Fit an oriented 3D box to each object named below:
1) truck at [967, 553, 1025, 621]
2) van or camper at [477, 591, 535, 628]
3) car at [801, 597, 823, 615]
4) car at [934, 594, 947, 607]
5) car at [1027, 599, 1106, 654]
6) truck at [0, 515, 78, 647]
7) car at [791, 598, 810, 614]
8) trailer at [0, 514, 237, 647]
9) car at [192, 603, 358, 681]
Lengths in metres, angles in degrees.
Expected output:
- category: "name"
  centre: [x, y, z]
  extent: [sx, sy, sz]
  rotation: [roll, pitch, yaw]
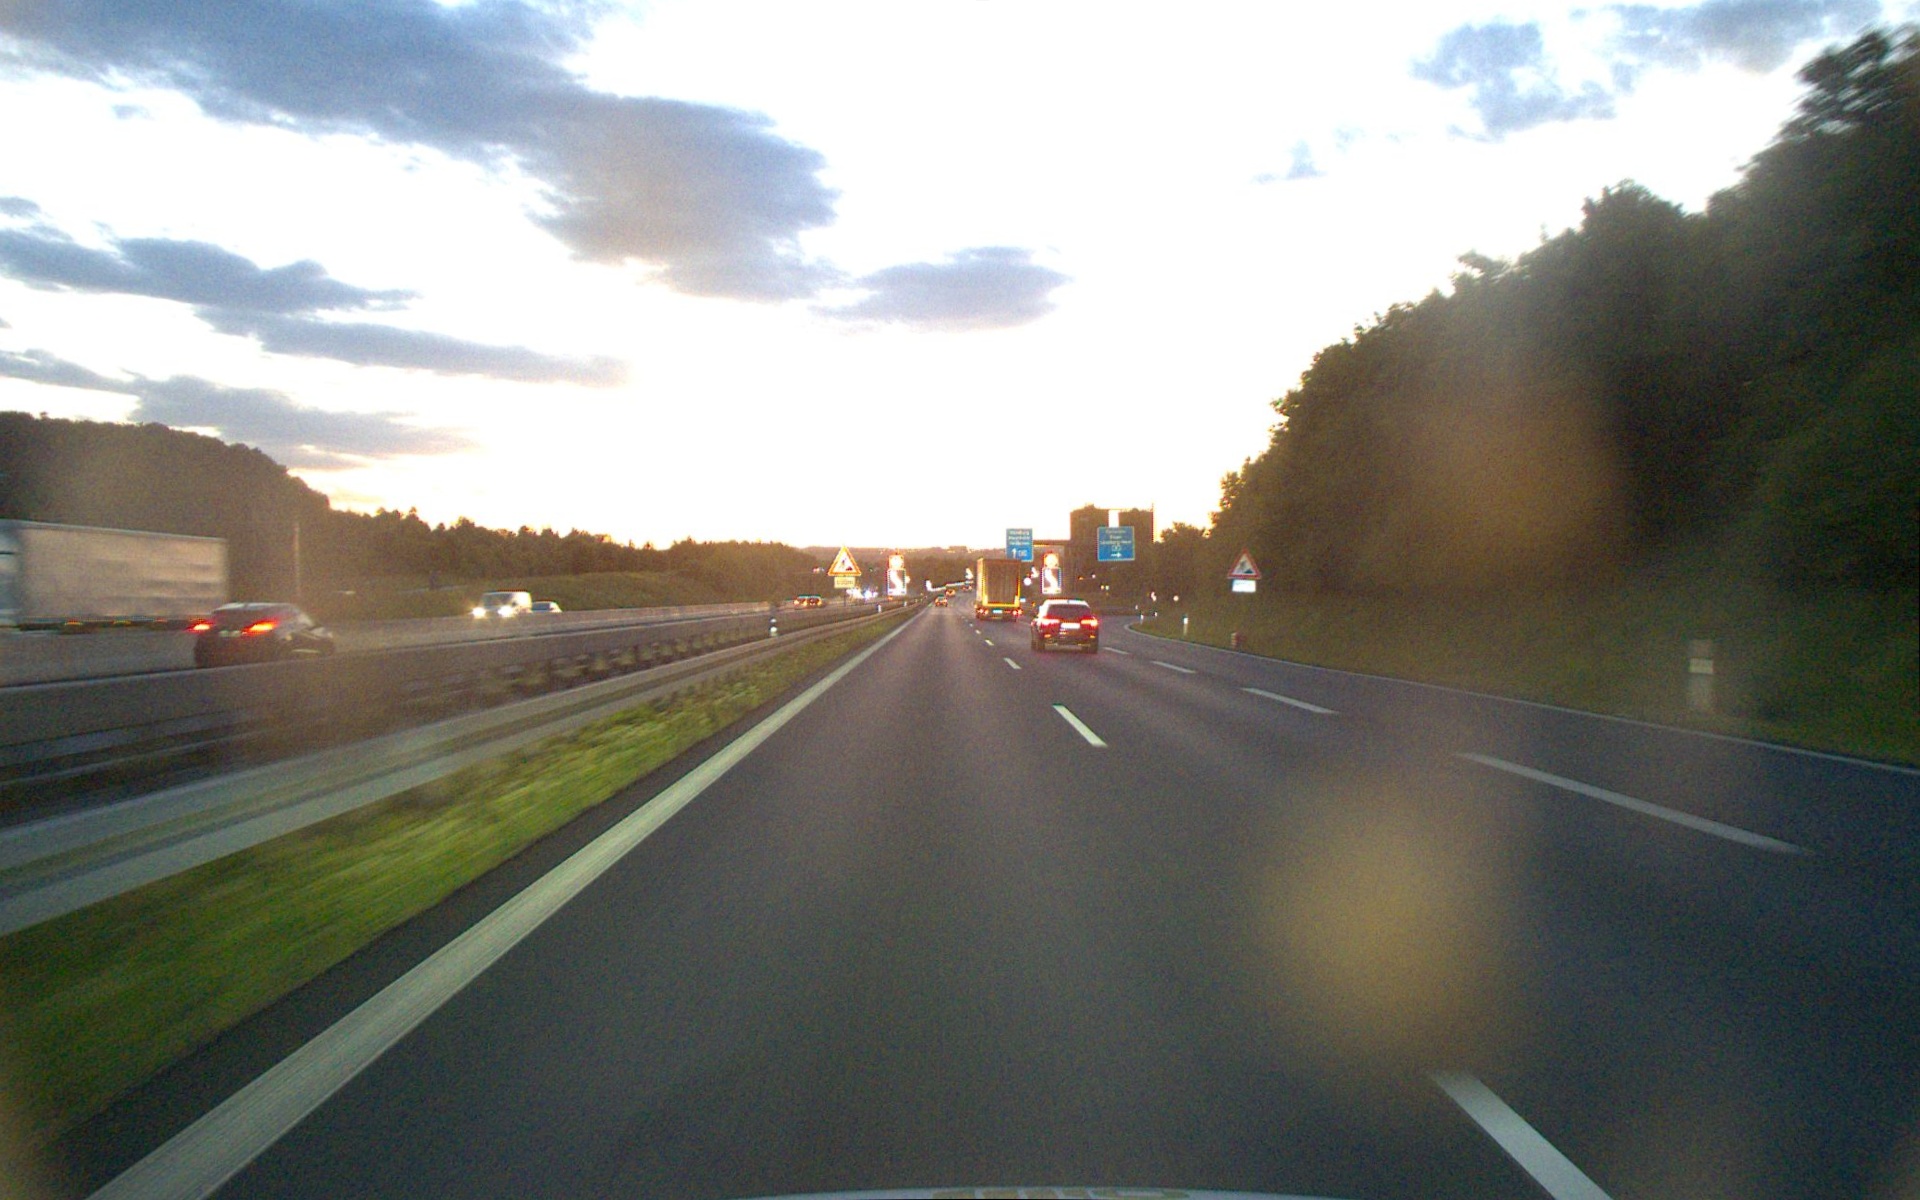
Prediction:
- category: "truck"
  centre: [2.366, -0.839, 112.876]
  extent: [3.438, 4.376, 9.889]
  rotation: [-1, 0, -1]
- category: "van or camper"
  centre: [-24.896, 0.495, 90.856]
  extent: [1.852, 1.940, 5.538]
  rotation: [0, 0, -2]
- category: "car"
  centre: [-13.537, 0.545, 151.263]
  extent: [1.678, 1.634, 3.721]
  rotation: [-1, 0, -1]
- category: "car"
  centre: [-3.027, 0.086, 255.826]
  extent: [1.953, 2.049, 3.999]
  rotation: [-1, 0, -1]
- category: "car"
  centre: [3.033, 0.741, 48.028]
  extent: [1.876, 1.467, 3.998]
  rotation: [-1, 0, -2]
- category: "truck"
  centre: [-28.446, -0.484, 47.524]
  extent: [3.243, 3.682, 5.496]
  rotation: [-1, 0, -1]
- category: "car"
  centre: [-16.613, 0.606, 172.424]
  extent: [1.604, 1.573, 3.394]
  rotation: [-1, 0, 0]
- category: "trailer"
  centre: [-28.599, -0.512, 54.916]
  extent: [3.259, 3.831, 13.882]
  rotation: [-1, 0, -1]
- category: "car"
  centre: [-15.132, 0.880, 36.802]
  extent: [1.834, 1.588, 4.519]
  rotation: [-1, 0, -1]
